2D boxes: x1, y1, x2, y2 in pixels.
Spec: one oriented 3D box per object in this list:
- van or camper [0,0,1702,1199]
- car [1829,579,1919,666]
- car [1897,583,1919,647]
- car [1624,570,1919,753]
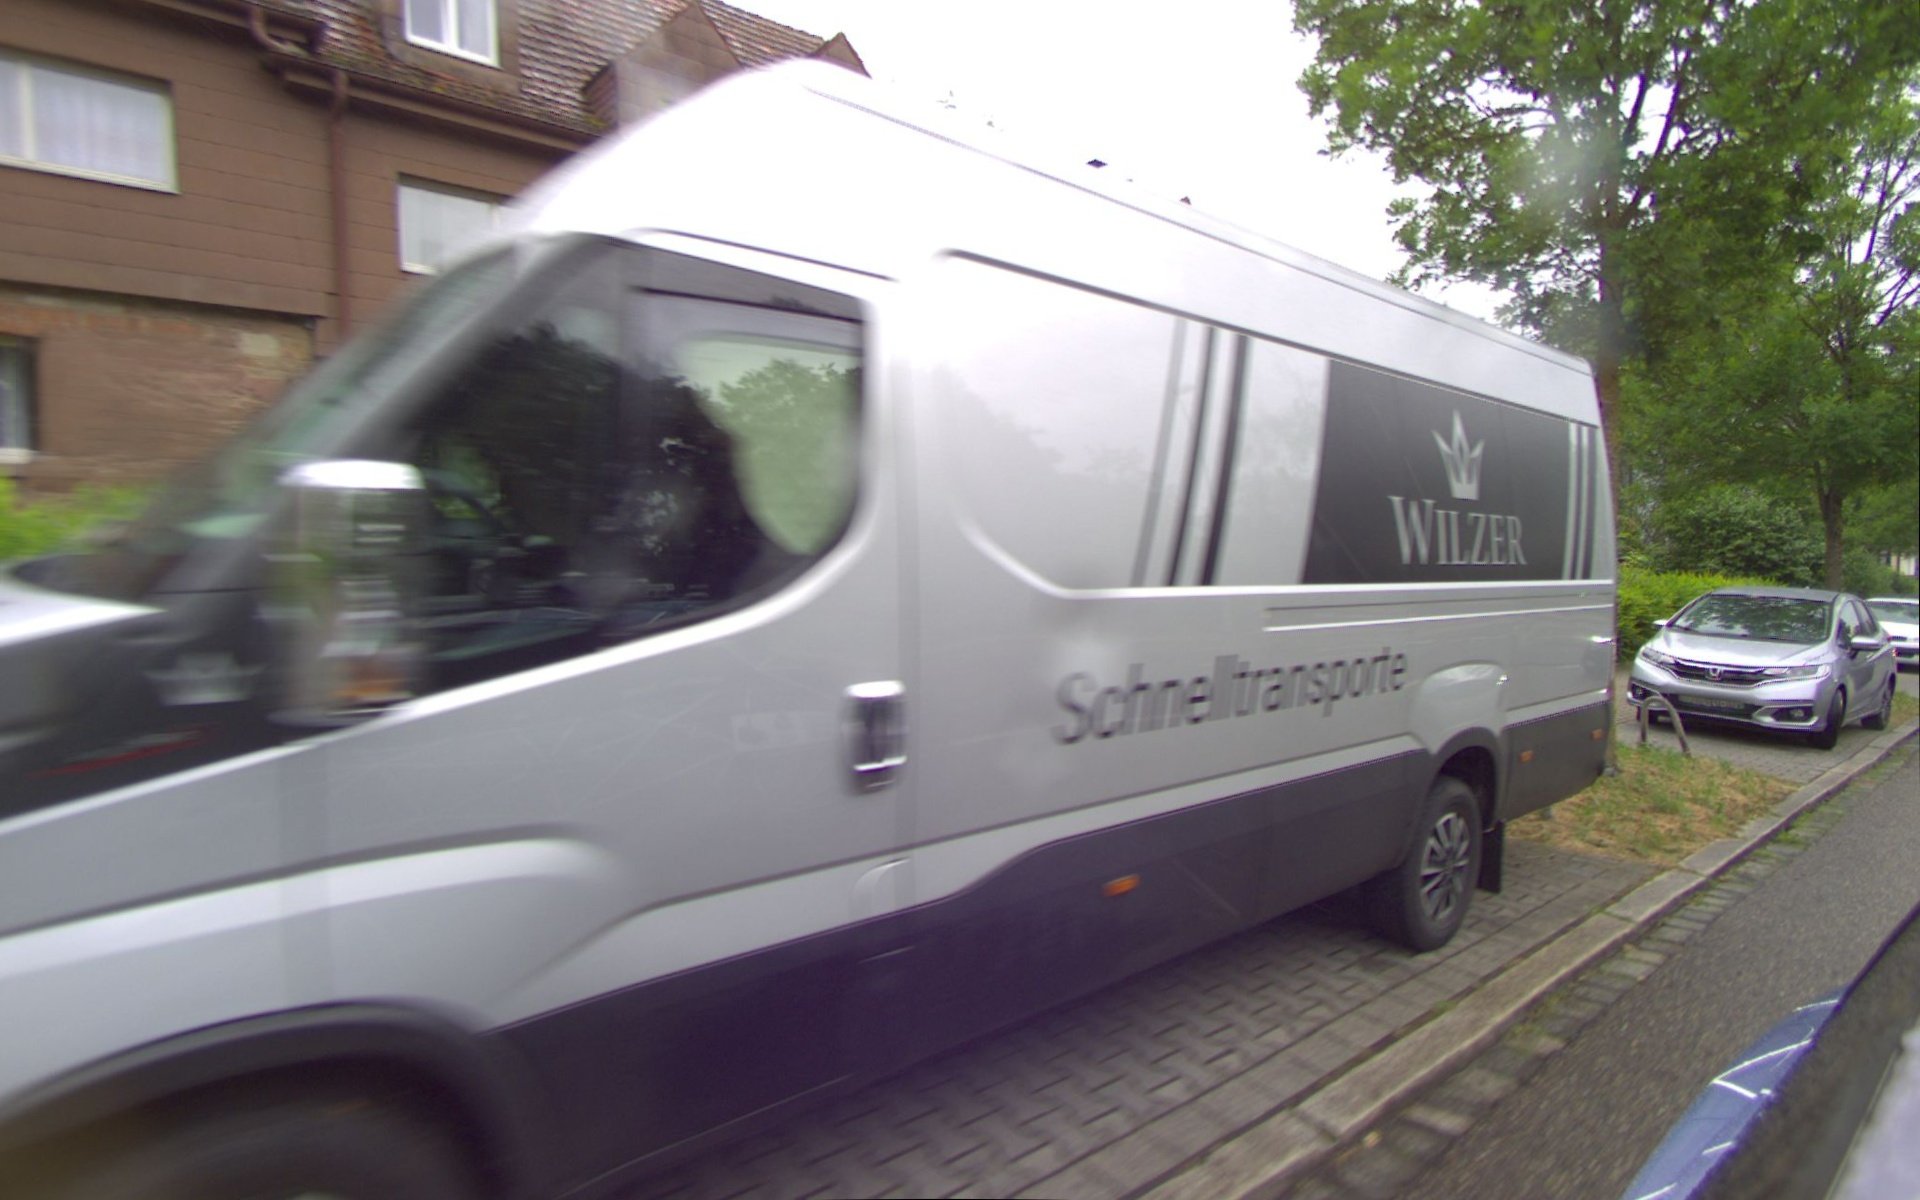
[{"bbox_3d":[0.426,-0.096,3.886,7.172,2.683,2.203,0,3,-41],"label":"van or camper"},{"bbox_3d":[19.988,0.452,21.191,4.391,1.622,1.830,1,3,-38],"label":"car"},{"bbox_3d":[27.814,0.452,28.339,4.505,1.698,1.828,0,3,-42],"label":"car"},{"bbox_3d":[8.870,0.533,10.921,3.762,1.546,1.674,0,4,-39],"label":"car"}]
